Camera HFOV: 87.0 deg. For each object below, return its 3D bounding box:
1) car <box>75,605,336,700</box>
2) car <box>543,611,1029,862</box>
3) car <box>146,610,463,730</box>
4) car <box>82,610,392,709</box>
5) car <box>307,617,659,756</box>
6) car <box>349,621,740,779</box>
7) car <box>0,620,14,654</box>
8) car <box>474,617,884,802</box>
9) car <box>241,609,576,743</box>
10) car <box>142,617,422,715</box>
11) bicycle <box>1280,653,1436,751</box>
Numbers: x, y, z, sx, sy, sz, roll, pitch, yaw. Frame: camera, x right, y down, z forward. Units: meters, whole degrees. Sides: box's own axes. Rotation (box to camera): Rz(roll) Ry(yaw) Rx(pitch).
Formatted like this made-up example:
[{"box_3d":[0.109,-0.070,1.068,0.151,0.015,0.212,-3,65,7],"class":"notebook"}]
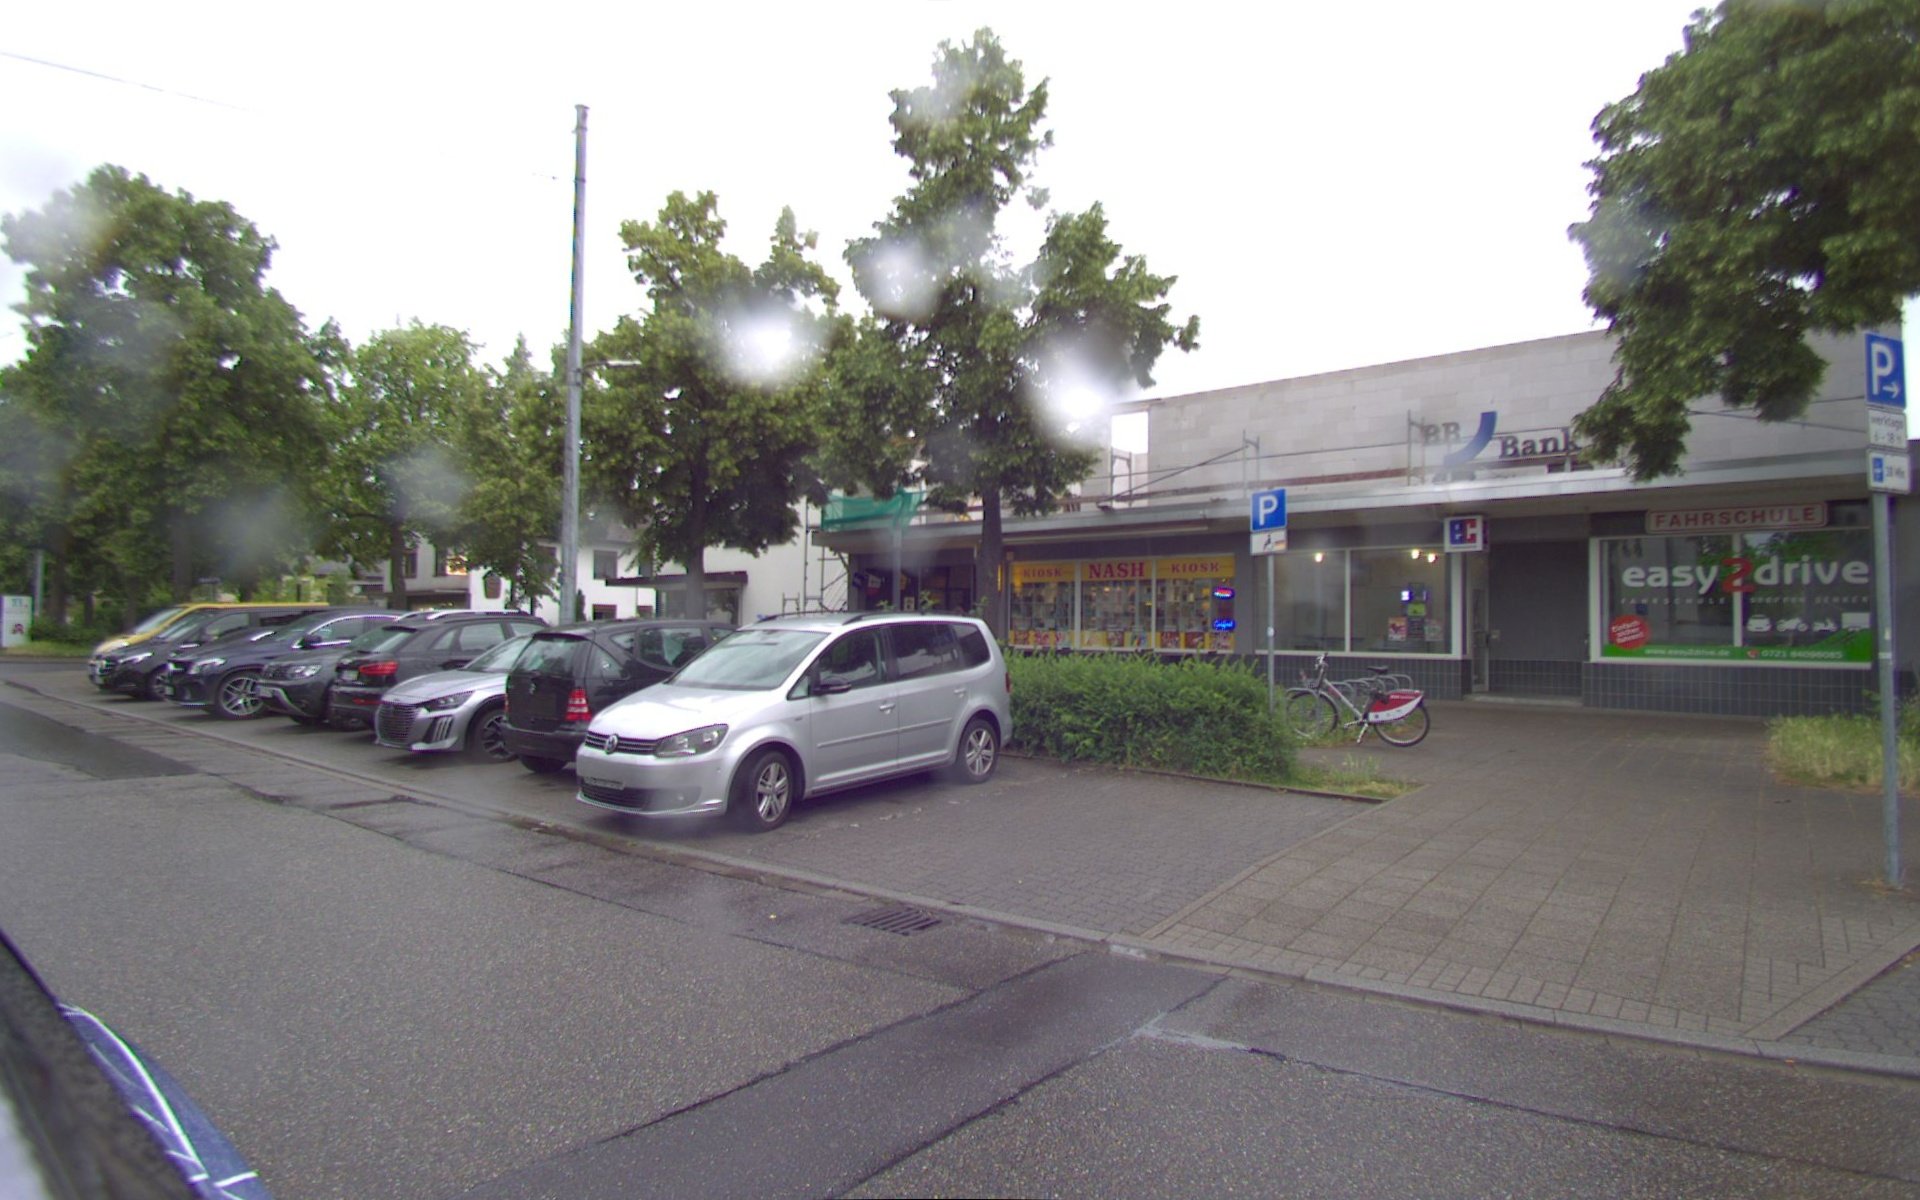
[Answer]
[{"box_3d":[-17.407,1.124,23.560,1.713,1.973,4.600,-1,-1,38],"class":"car"},{"box_3d":[-1.279,0.944,9.012,1.713,1.647,4.231,-1,-1,38],"class":"car"},{"box_3d":[-10.999,1.069,17.262,1.713,1.740,4.231,-1,-1,38],"class":"car"},{"box_3d":[-15.141,1.148,21.520,1.713,1.813,5.114,-1,-1,38],"class":"car"},{"box_3d":[-6.568,1.078,14.362,1.713,1.607,4.231,-1,-1,38],"class":"car"},{"box_3d":[-4.954,1.071,12.597,1.713,1.544,4.231,-1,-1,38],"class":"car"},{"box_3d":[-49.594,1.881,49.998,1.997,1.698,3.950,-1,0,37],"class":"car"},{"box_3d":[-2.864,1.006,11.161,1.633,1.577,4.231,-1,-1,38],"class":"car"},{"box_3d":[-8.327,1.034,15.631,1.713,1.740,4.231,-1,-1,38],"class":"car"},{"box_3d":[-13.047,1.186,19.720,1.713,1.639,4.231,-1,-1,38],"class":"car"},{"box_3d":[4.827,1.219,12.343,1.739,1.115,0.316,-1,0,25],"class":"bicycle"}]
